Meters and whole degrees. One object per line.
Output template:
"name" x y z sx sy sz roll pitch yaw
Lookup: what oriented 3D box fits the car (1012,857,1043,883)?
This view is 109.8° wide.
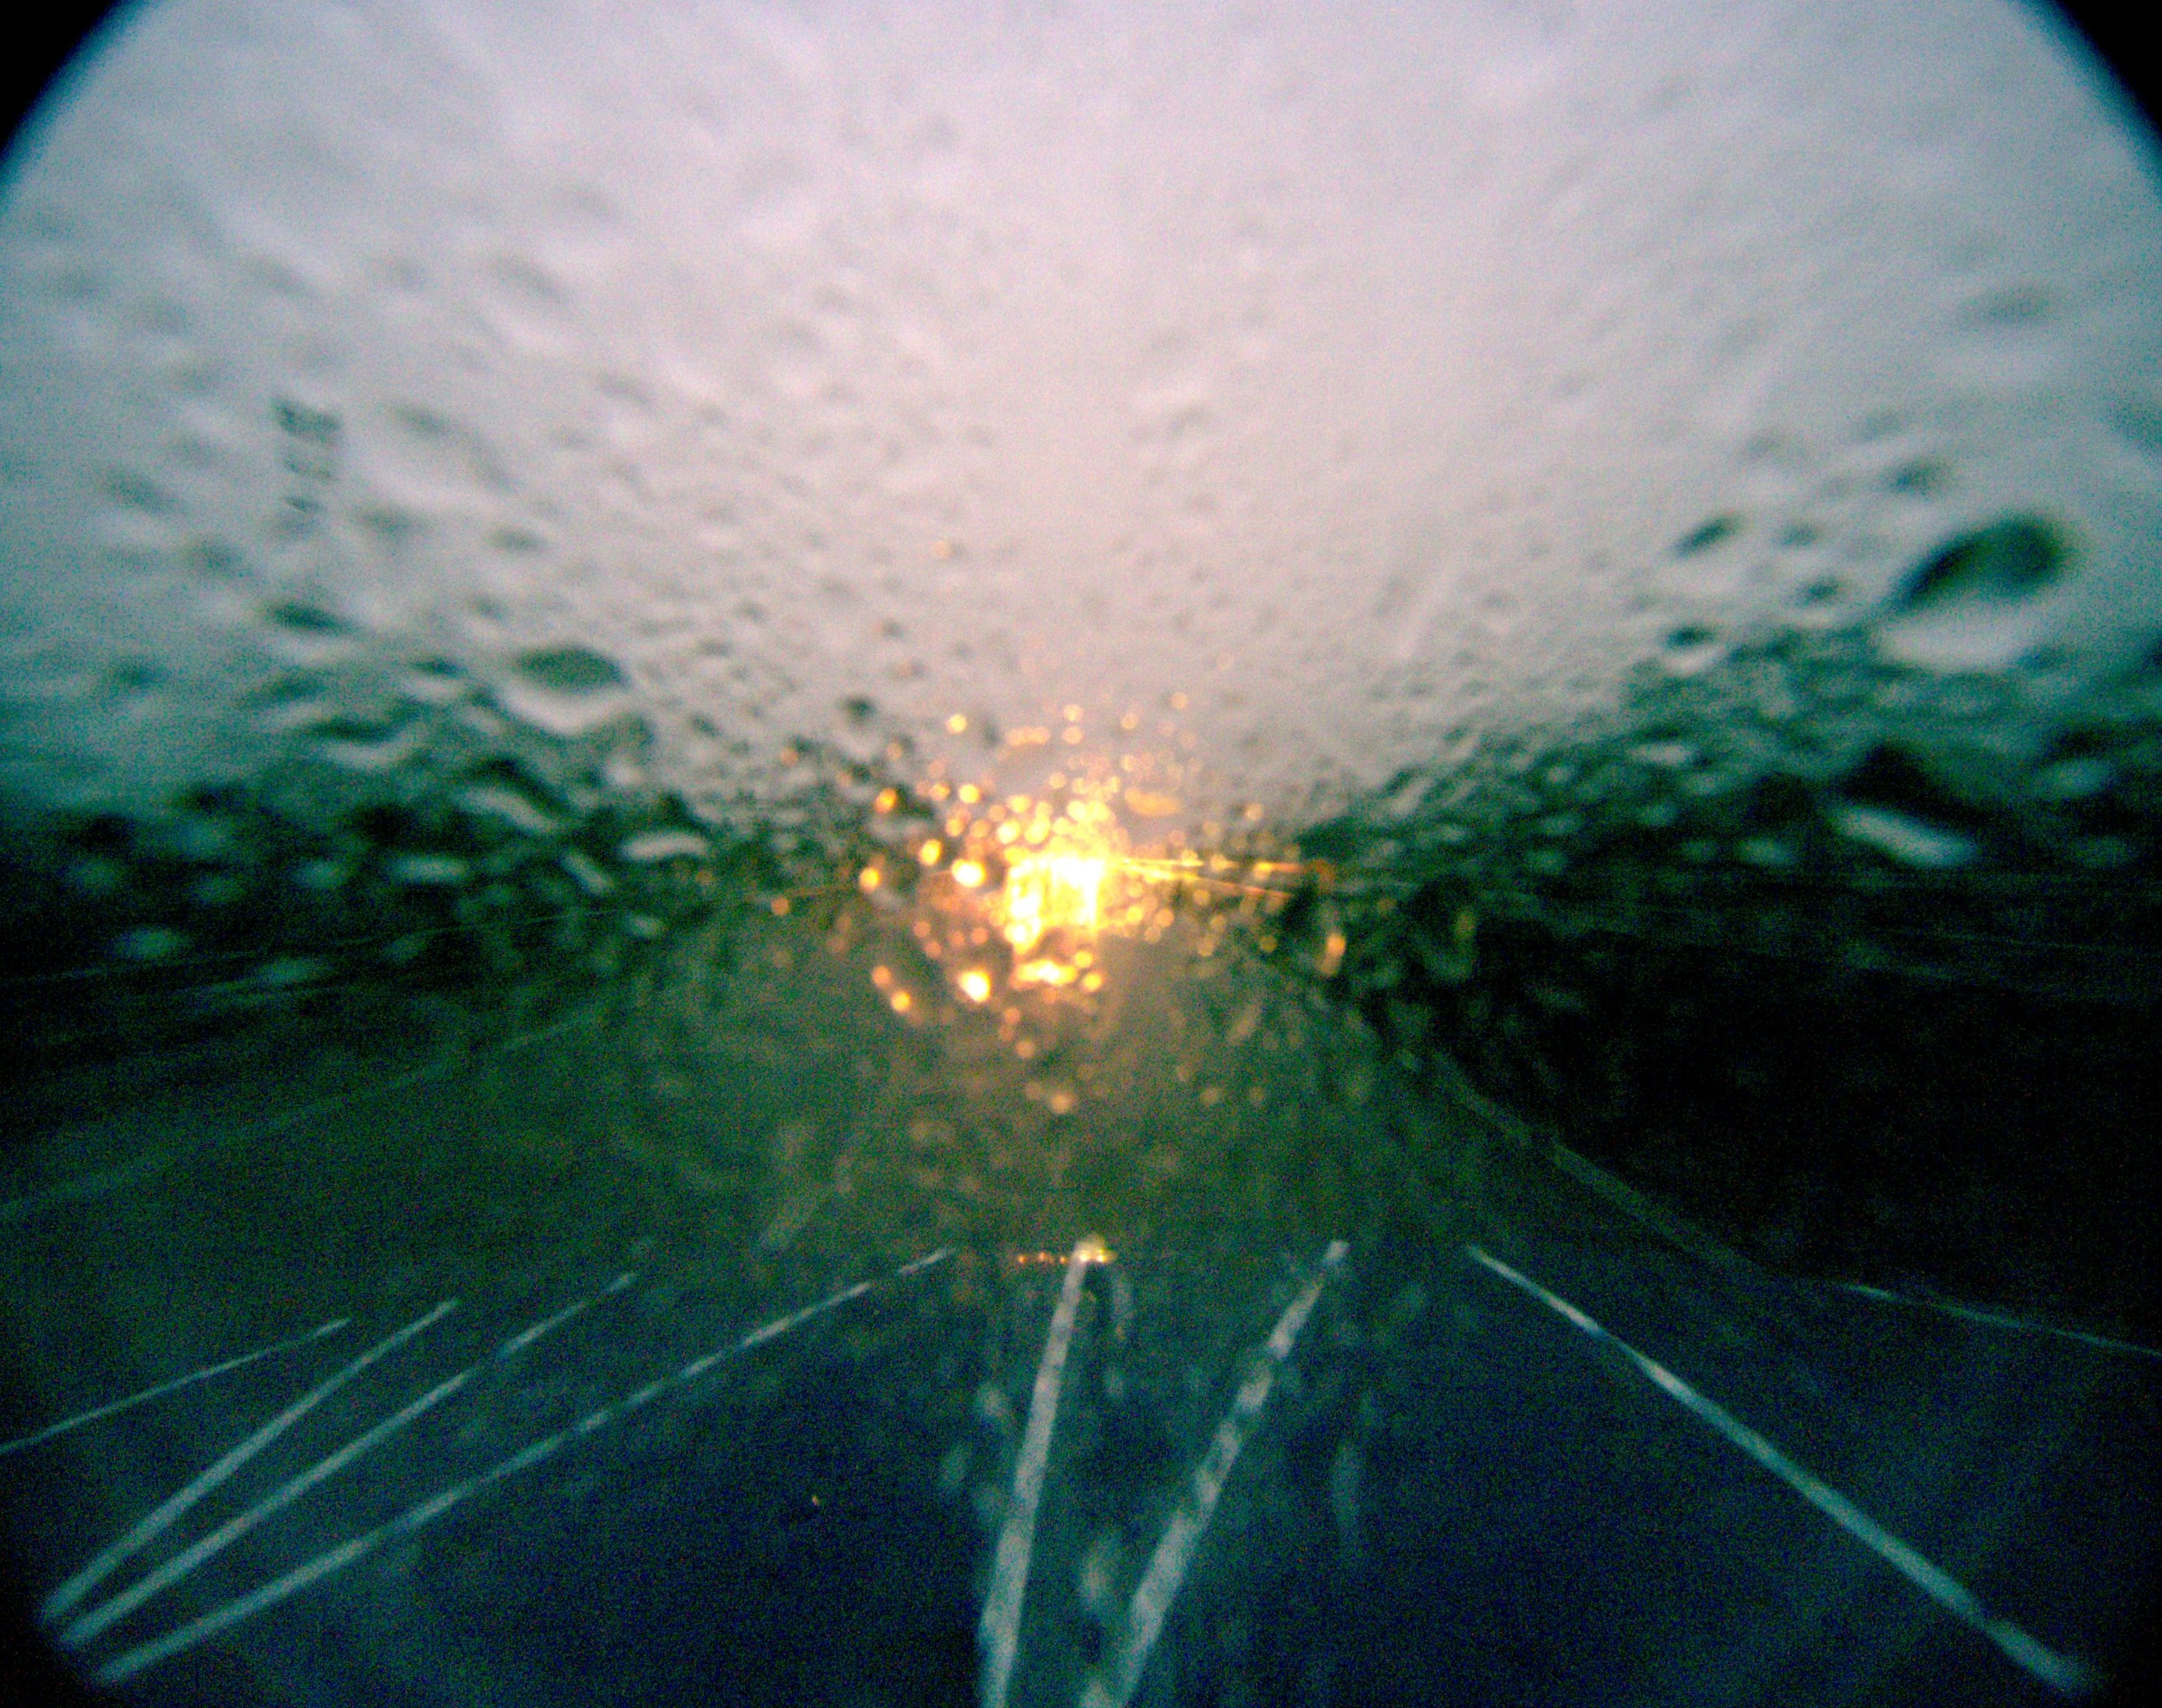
"car" -3.196 0.955 45.942 1.632 1.465 4.000 -1 0 0

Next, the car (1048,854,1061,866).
"car" -3.441 0.756 98.967 1.632 1.465 4.000 -1 0 0

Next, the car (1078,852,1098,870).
"car" 0.587 0.597 64.779 1.632 1.465 4.000 -1 0 0

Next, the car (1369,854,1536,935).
"car" 7.812 0.765 16.441 1.612 1.465 4.176 -1 0 1
